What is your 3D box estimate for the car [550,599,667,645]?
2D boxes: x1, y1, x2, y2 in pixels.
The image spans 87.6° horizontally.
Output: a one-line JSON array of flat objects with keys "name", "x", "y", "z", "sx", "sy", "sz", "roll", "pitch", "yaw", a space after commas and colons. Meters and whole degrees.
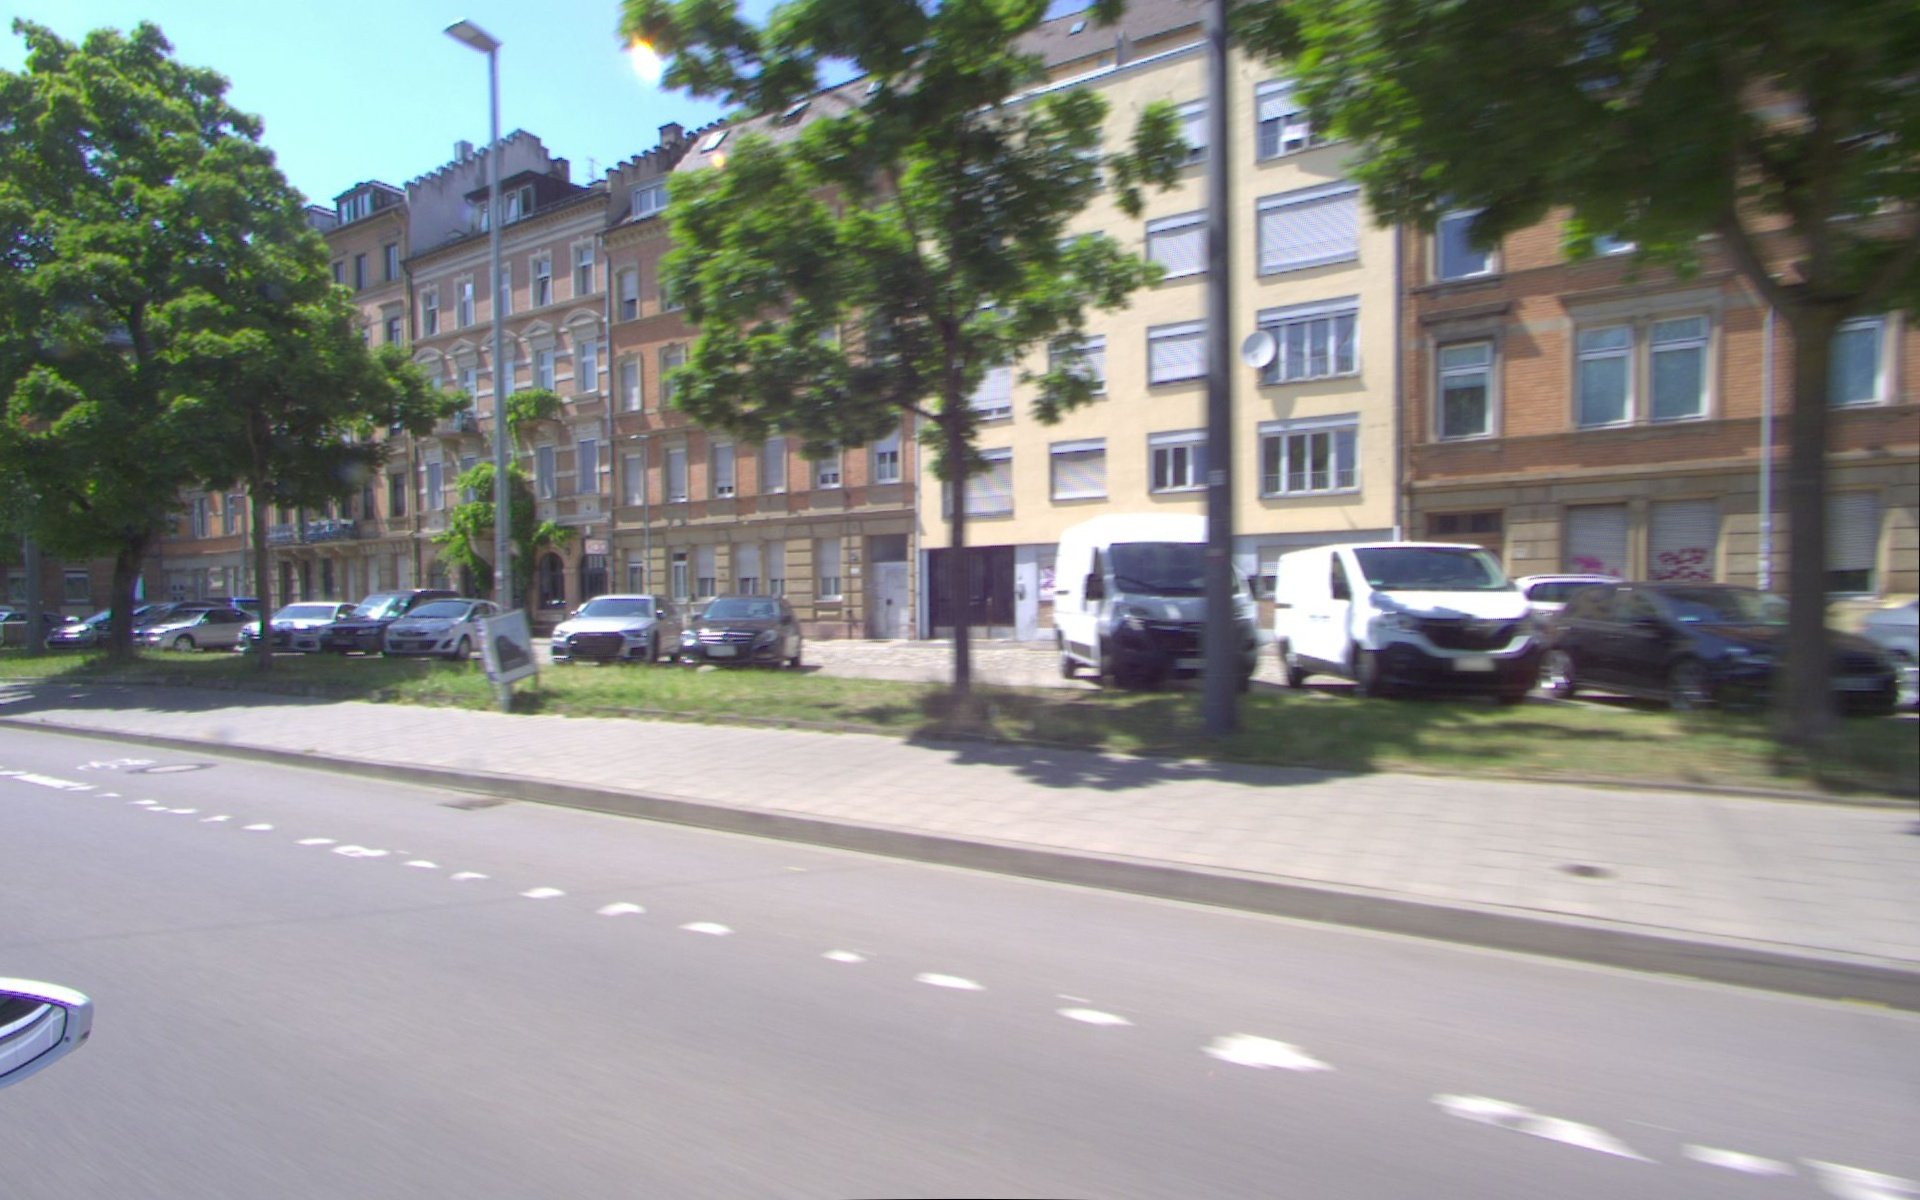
[{"name": "car", "x": -11.670, "y": 0.733, "z": 33.193, "sx": 3.662, "sy": 1.438, "sz": 1.776, "roll": -1, "pitch": -1, "yaw": 32}]

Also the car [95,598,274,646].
[{"name": "car", "x": -23.172, "y": 0.665, "z": 30.134, "sx": 1.935, "sy": 1.330, "sz": 3.999, "roll": 0, "pitch": -1, "yaw": 11}]

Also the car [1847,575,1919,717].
[{"name": "car", "x": 10.989, "y": 0.450, "z": 9.263, "sx": 1.927, "sy": 1.516, "sz": 4.633, "roll": 0, "pitch": -1, "yaw": 8}]

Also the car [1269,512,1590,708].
[{"name": "car", "x": 5.539, "y": 0.168, "z": 12.665, "sx": 2.036, "sy": 1.998, "sz": 4.850, "roll": 0, "pitch": -1, "yaw": 4}]

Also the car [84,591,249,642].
[{"name": "car", "x": -25.087, "y": 0.547, "z": 31.855, "sx": 1.763, "sy": 1.488, "sz": 4.093, "roll": 0, "pitch": -1, "yaw": 5}]

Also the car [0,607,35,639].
[{"name": "car", "x": -40.839, "y": 0.950, "z": 41.173, "sx": 1.725, "sy": 1.349, "sz": 4.001, "roll": 0, "pitch": -1, "yaw": 5}]

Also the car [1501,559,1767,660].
[{"name": "car", "x": 12.346, "y": 0.206, "z": 18.641, "sx": 3.942, "sy": 1.705, "sz": 1.816, "roll": -1, "pitch": -1, "yaw": 31}]

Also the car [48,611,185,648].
[{"name": "car", "x": -33.826, "y": 1.183, "z": 40.238, "sx": 1.934, "sy": 1.394, "sz": 3.970, "roll": -1, "pitch": -2, "yaw": 40}]

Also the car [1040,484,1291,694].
[{"name": "car", "x": 2.686, "y": -0.053, "z": 14.722, "sx": 2.195, "sy": 2.492, "sz": 5.552, "roll": 0, "pitch": -1, "yaw": -4}]

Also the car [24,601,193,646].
[{"name": "car", "x": -27.883, "y": 0.781, "z": 32.999, "sx": 1.552, "sy": 1.394, "sz": 4.349, "roll": 0, "pitch": -1, "yaw": 7}]

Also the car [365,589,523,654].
[{"name": "car", "x": -12.113, "y": 0.522, "z": 23.825, "sx": 1.679, "sy": 1.418, "sz": 4.001, "roll": 0, "pitch": -1, "yaw": 0}]

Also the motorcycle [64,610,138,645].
[{"name": "motorcycle", "x": -31.757, "y": 1.017, "z": 37.037, "sx": 2.064, "sy": 1.252, "sz": 0.805, "roll": 1, "pitch": -1, "yaw": -43}]

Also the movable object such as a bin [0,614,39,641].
[{"name": "movable object such as a bin", "x": -33.301, "y": 0.974, "z": 35.453, "sx": 0.694, "sy": 0.949, "sz": 0.980, "roll": -1, "pitch": -1, "yaw": 44}]

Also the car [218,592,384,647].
[{"name": "car", "x": -17.389, "y": 0.542, "z": 26.748, "sx": 2.110, "sy": 1.330, "sz": 4.784, "roll": 0, "pitch": -1, "yaw": -13}]

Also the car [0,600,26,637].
[{"name": "car", "x": -43.181, "y": 0.762, "z": 42.724, "sx": 1.800, "sy": 1.621, "sz": 4.875, "roll": 0, "pitch": -1, "yaw": 5}]

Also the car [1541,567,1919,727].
[{"name": "car", "x": 8.063, "y": 0.469, "z": 10.911, "sx": 1.789, "sy": 1.404, "sz": 3.999, "roll": 0, "pitch": -1, "yaw": 11}]

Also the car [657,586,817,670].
[{"name": "car", "x": -3.931, "y": 0.511, "z": 18.436, "sx": 1.934, "sy": 1.355, "sz": 4.433, "roll": 0, "pitch": -1, "yaw": 0}]

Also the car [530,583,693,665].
[{"name": "car", "x": -6.846, "y": 0.489, "z": 20.221, "sx": 1.934, "sy": 1.446, "sz": 4.693, "roll": 0, "pitch": -1, "yaw": -4}]

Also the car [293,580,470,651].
[{"name": "car", "x": -14.705, "y": 0.419, "z": 25.751, "sx": 1.934, "sy": 1.683, "sz": 4.001, "roll": 0, "pitch": -1, "yaw": 7}]

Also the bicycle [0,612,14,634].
[{"name": "bicycle", "x": -36.386, "y": 0.856, "z": 37.792, "sx": 0.491, "sy": 0.815, "sz": 1.451, "roll": 0, "pitch": -1, "yaw": -23}]

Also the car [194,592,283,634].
[{"name": "car", "x": -34.060, "y": 0.646, "z": 47.243, "sx": 4.588, "sy": 1.928, "sz": 1.916, "roll": -1, "pitch": -1, "yaw": 33}]
